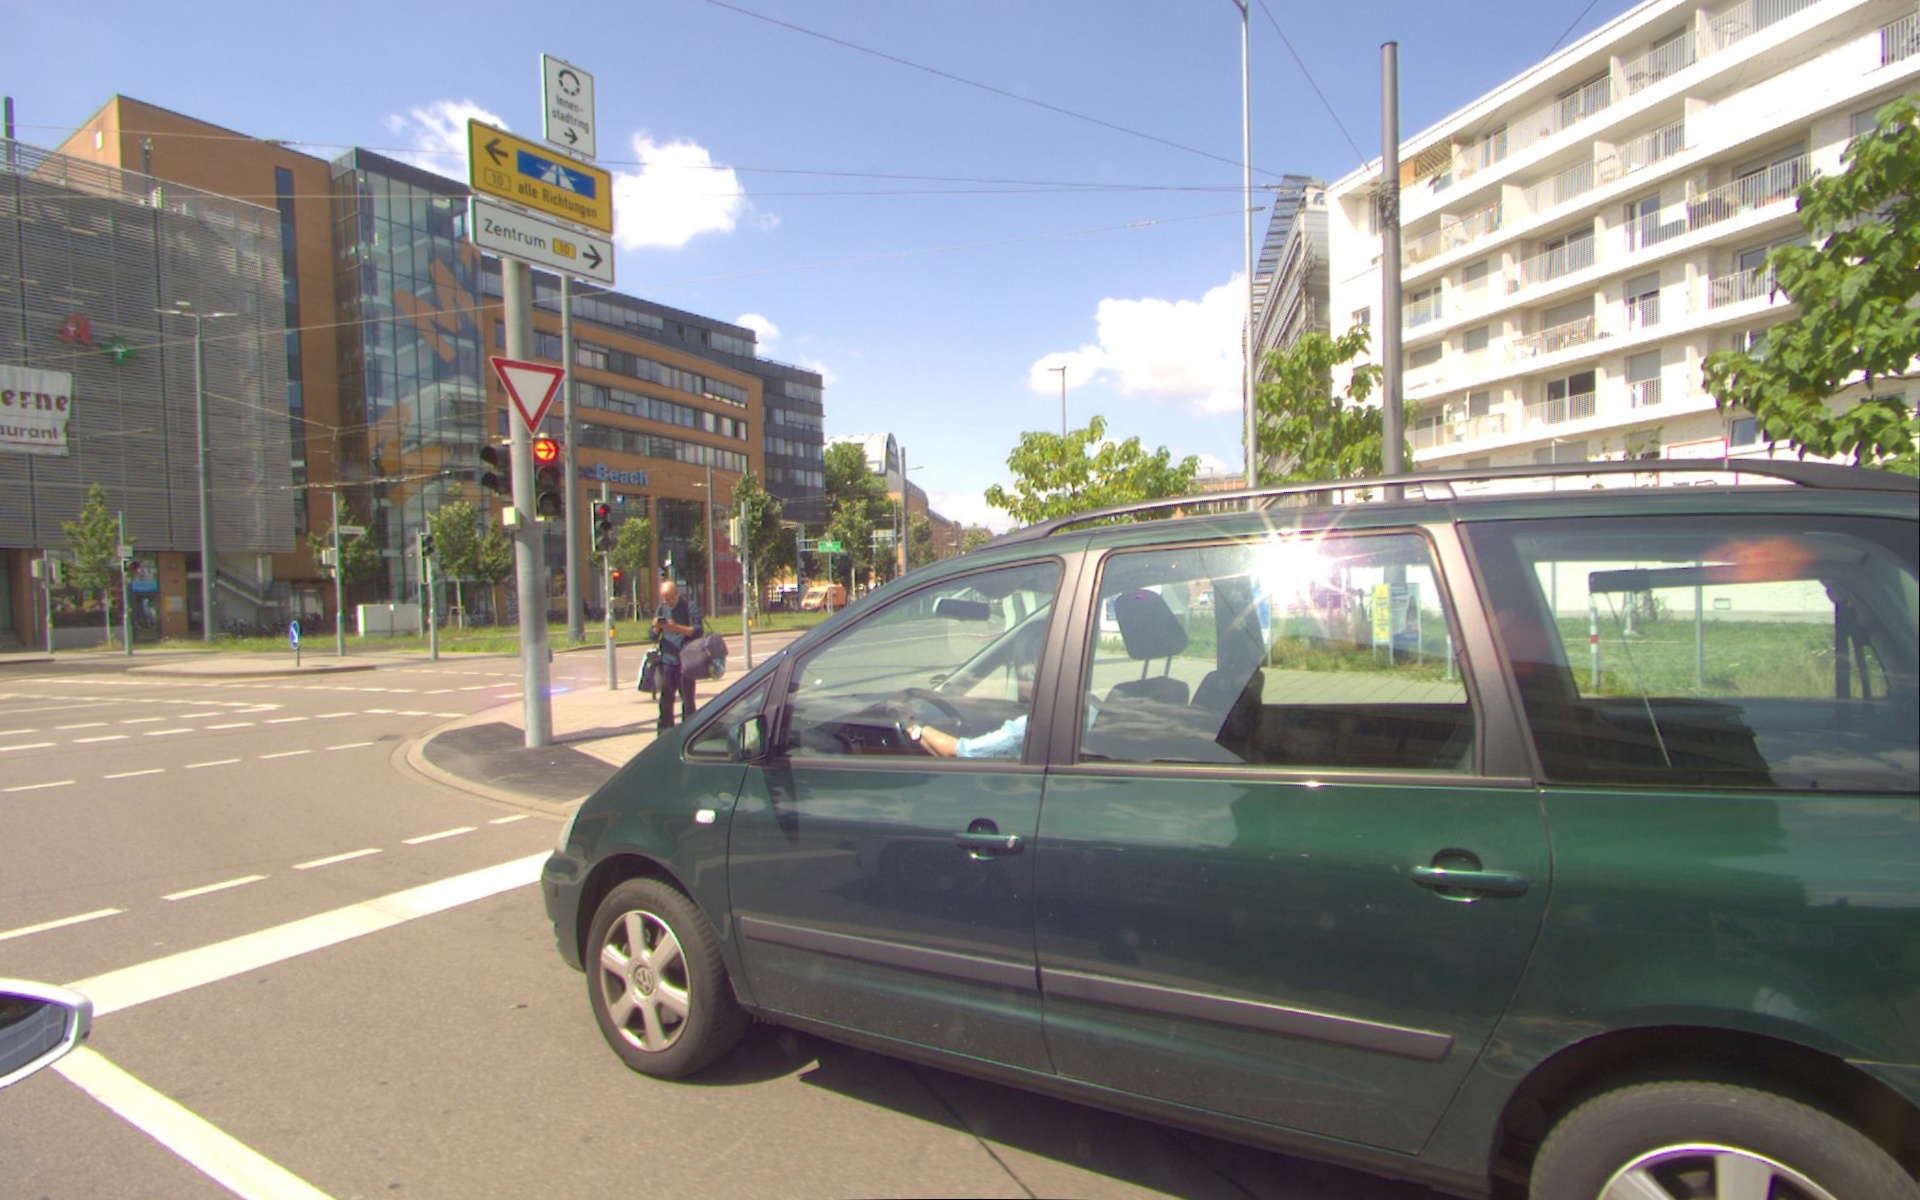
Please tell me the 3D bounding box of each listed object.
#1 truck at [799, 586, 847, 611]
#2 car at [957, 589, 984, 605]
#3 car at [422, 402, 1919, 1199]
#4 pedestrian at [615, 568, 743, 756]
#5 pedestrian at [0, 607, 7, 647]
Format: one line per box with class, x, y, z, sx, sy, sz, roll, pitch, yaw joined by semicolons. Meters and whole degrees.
truck;-11.946;-0.091;87.721;1.965;2.113;5.513;0;0;19
car;1.402;-0.430;131.876;1.968;2.040;3.985;-1;1;26
car;0.578;0.612;3.188;4.959;1.779;1.815;-1;-1;32
pedestrian;-2.687;0.572;9.668;0.901;1.725;0.808;-2;2;5
pedestrian;-43.135;1.218;44.800;0.620;1.769;0.616;0;0;34
